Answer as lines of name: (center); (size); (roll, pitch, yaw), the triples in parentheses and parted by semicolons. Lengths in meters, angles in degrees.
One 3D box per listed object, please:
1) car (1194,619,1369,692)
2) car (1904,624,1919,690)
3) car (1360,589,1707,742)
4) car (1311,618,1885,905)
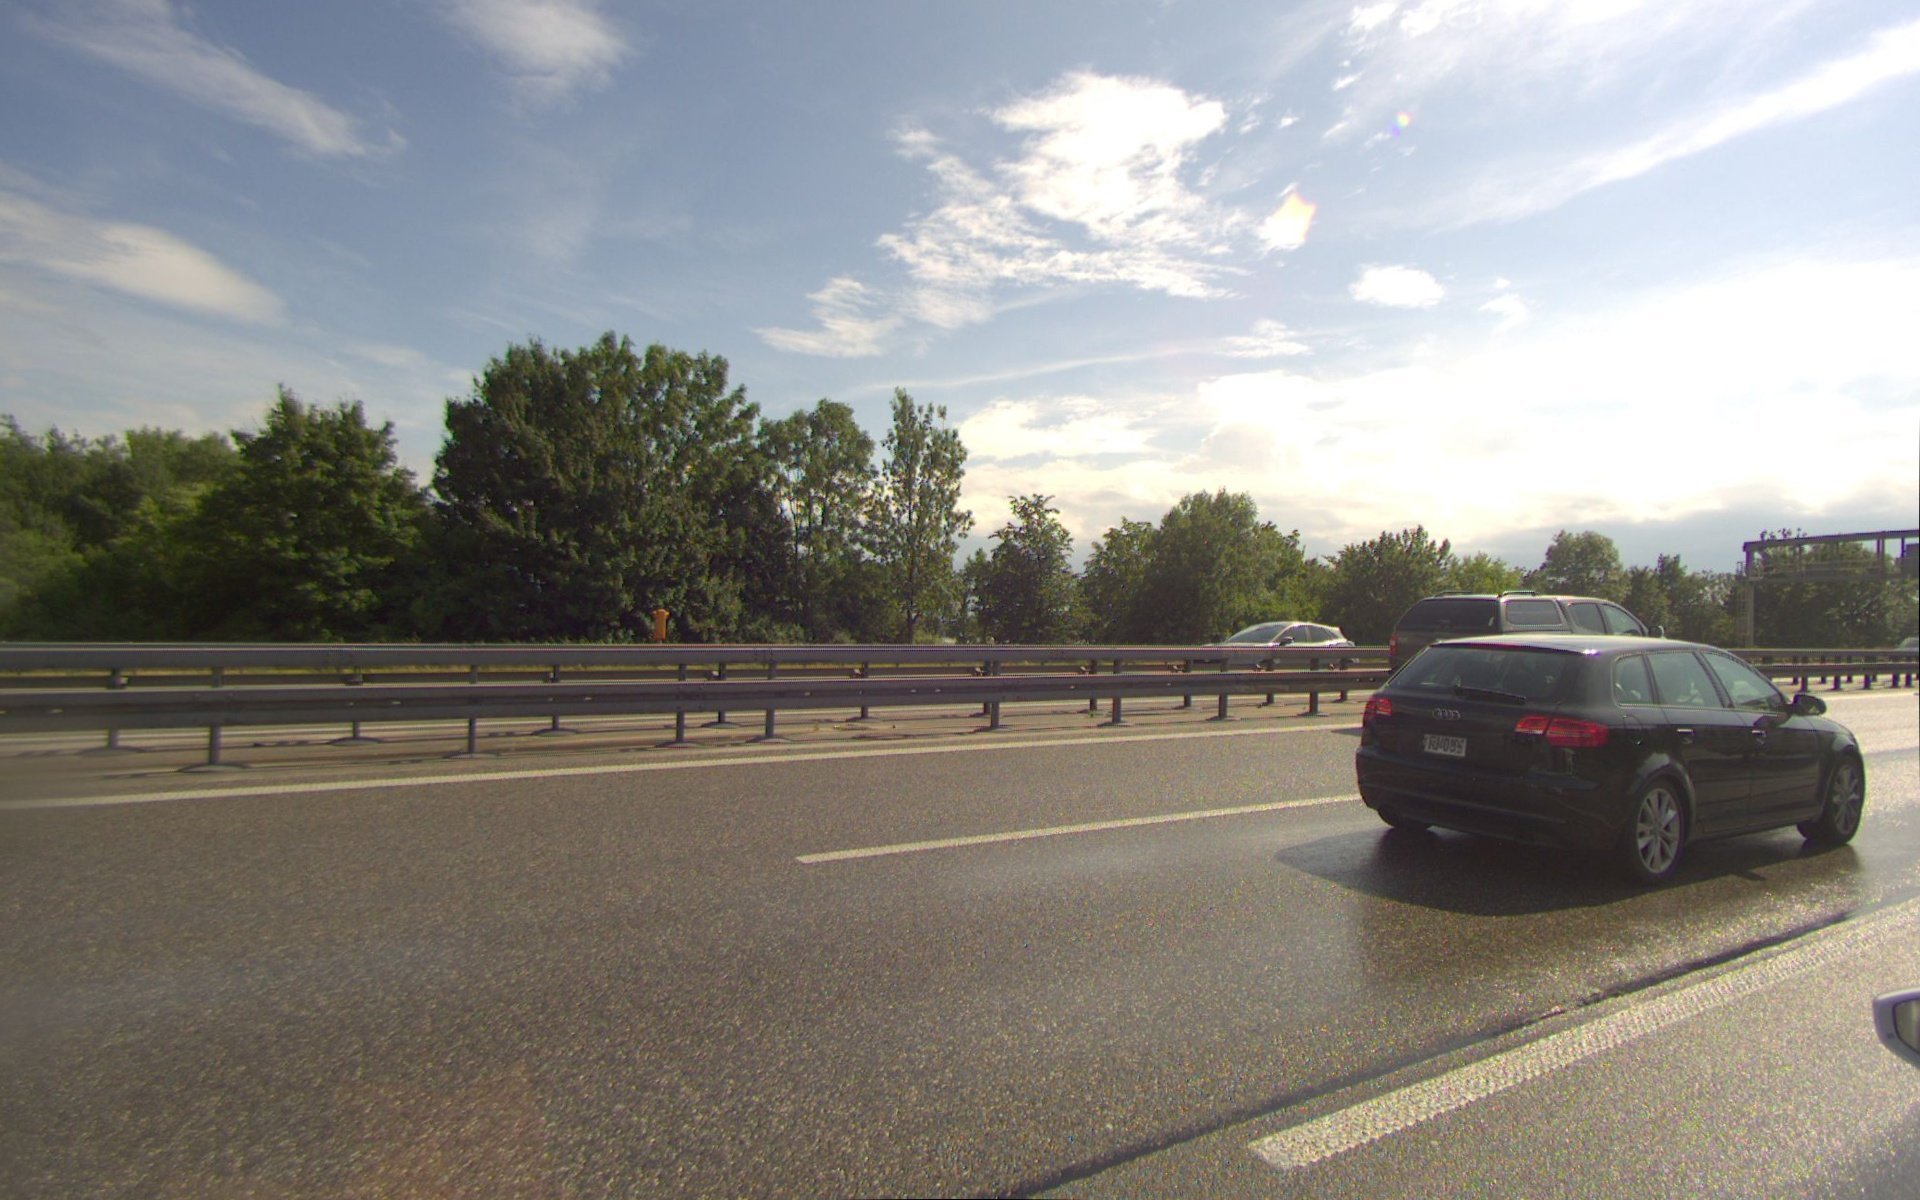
car: (7.193, 1.202, 22.414); (3.593, 1.471, 1.835); (2, -1, -32)
car: (25.557, 1.455, 25.211); (3.872, 1.599, 1.773); (2, 0, -32)
car: (8.321, 0.867, 14.420); (5.351, 1.868, 1.799); (2, 0, -29)
car: (4.507, 0.895, 6.971); (4.007, 1.452, 1.741); (2, 0, -31)
